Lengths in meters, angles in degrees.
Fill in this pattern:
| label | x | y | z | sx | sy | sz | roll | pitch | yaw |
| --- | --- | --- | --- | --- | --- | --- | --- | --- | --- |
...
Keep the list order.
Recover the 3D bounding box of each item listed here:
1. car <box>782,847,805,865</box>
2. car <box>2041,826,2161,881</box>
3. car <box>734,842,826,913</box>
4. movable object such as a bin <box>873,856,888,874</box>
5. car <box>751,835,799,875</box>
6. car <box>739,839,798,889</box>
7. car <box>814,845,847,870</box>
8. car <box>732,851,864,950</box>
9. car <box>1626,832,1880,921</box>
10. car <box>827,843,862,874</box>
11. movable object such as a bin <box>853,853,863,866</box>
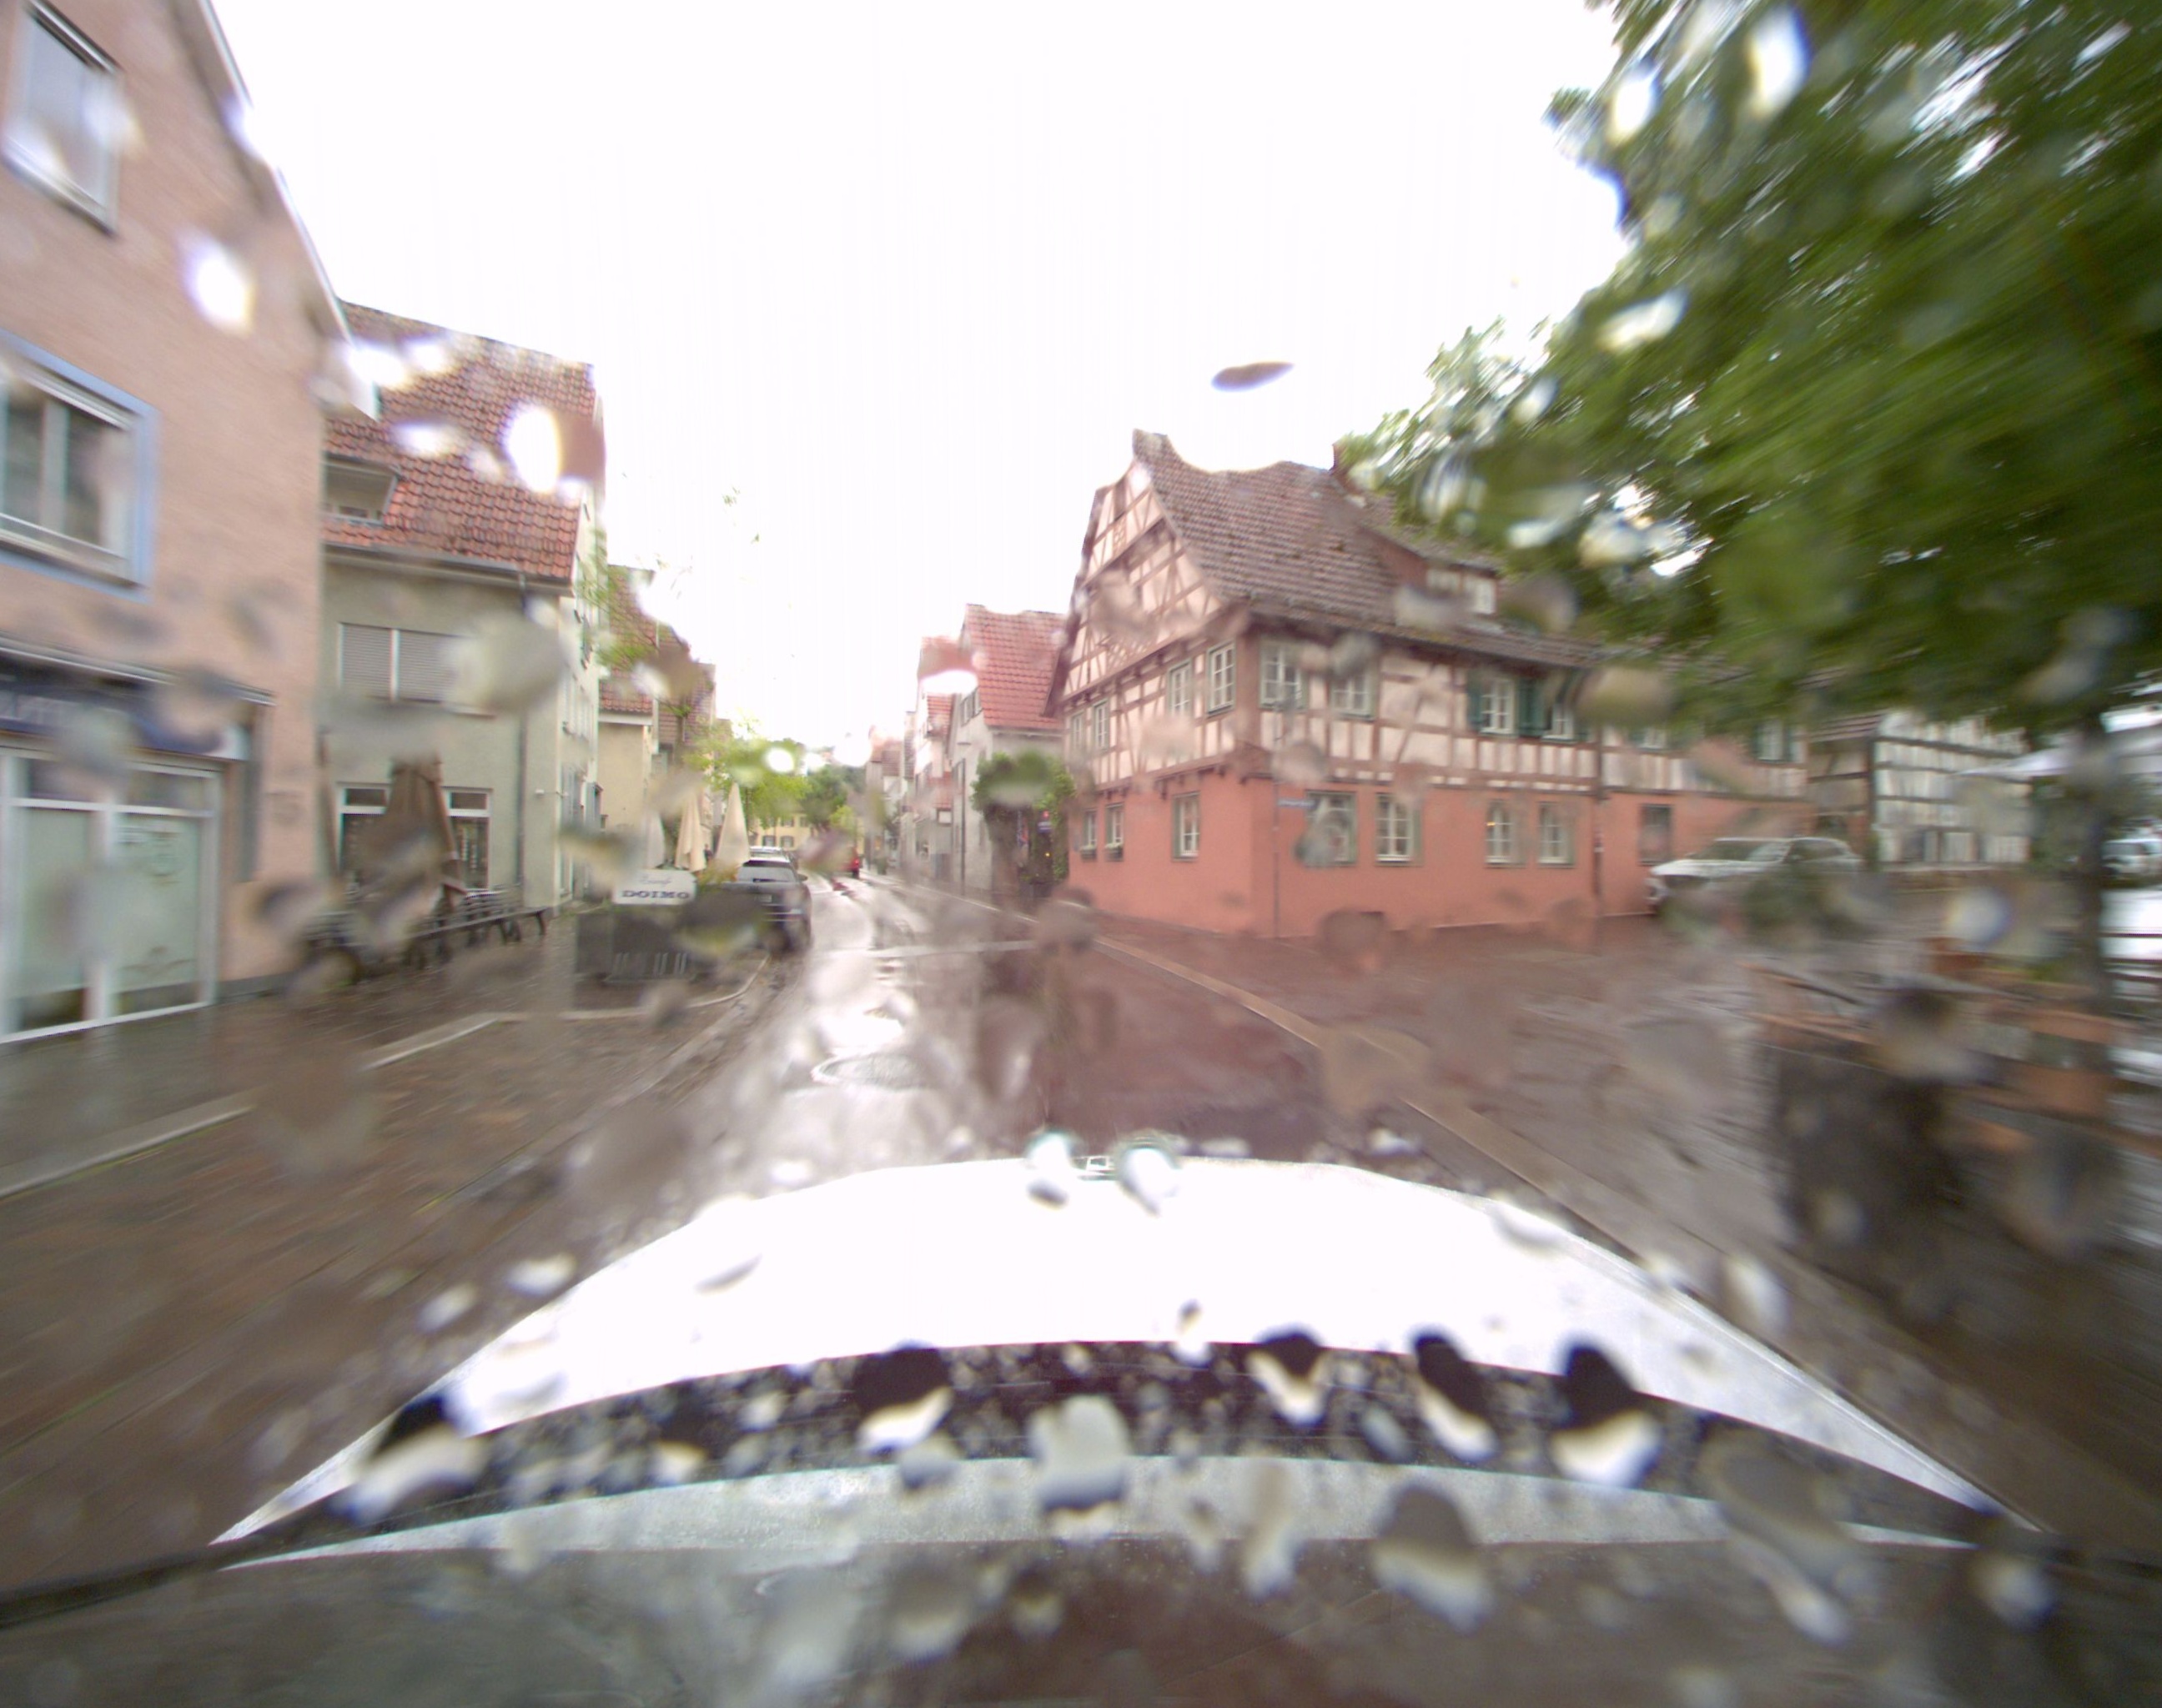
| label | x | y | z | sx | sy | sz | roll | pitch | yaw |
| --- | --- | --- | --- | --- | --- | --- | --- | --- | --- |
| car | -24.165 | 0.145 | 68.532 | 1.697 | 1.443 | 3.860 | 2 | 0 | -19 |
| car | 33.094 | -0.077 | 26.258 | 4.629 | 1.633 | 1.981 | -1 | 2 | -30 |
| car | -7.354 | 0.542 | 20.272 | 1.866 | 1.524 | 4.302 | 3 | -1 | -17 |
| movable object such as a bin | -12.380 | 0.686 | 50.325 | 0.796 | 1.081 | 0.610 | 0 | -1 | -23 |
| car | -13.866 | 0.124 | 37.143 | 1.829 | 1.666 | 4.612 | 2 | -2 | -19 |
| car | -11.554 | 0.417 | 30.378 | 1.829 | 1.666 | 4.612 | 2 | -2 | -19 |
| car | -19.144 | 0.299 | 62.120 | 2.002 | 1.799 | 3.968 | 2 | -2 | -23 |
| car | -5.039 | 0.693 | 14.526 | 1.868 | 1.442 | 4.589 | 1 | 0 | -20 |
| car | 13.733 | 0.367 | 16.665 | 4.617 | 1.633 | 1.987 | -1 | 2 | -21 |
| car | -14.898 | 0.230 | 51.168 | 1.899 | 1.811 | 3.975 | 2 | 0 | -19 |
| movable object such as a bin | -19.419 | 0.480 | 70.805 | 0.770 | 1.080 | 0.595 | 2 | -2 | -19 |
